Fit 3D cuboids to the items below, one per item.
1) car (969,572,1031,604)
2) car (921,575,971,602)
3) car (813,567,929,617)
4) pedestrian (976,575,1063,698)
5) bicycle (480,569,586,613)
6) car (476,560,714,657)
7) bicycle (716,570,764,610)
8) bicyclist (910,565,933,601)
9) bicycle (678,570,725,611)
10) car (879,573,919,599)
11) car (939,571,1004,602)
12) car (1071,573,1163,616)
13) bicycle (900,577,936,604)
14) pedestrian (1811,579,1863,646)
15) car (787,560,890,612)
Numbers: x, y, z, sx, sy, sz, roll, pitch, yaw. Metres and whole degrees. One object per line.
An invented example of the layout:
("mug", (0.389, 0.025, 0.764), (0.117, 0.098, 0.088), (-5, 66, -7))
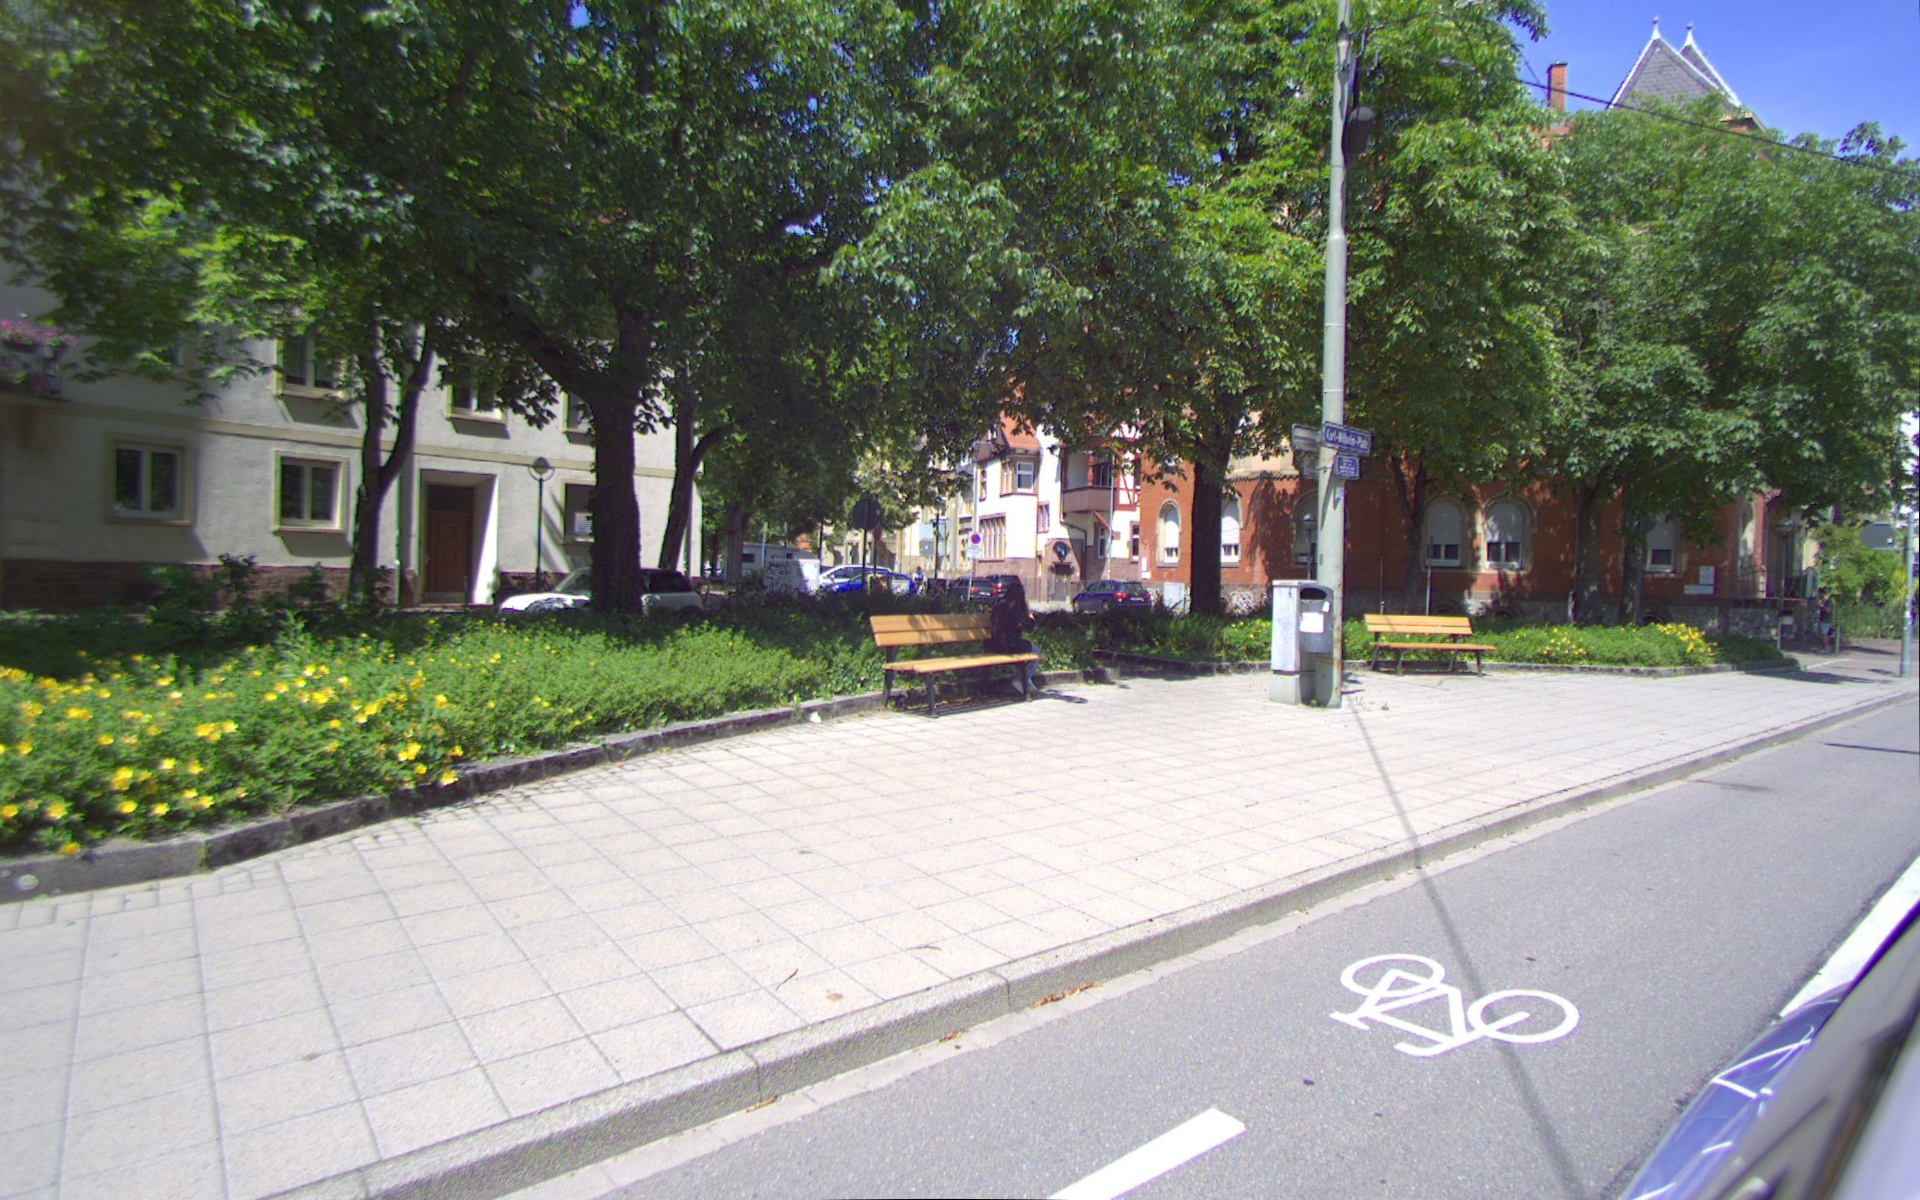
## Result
("car", (2.063, -0.620, 54.074), (1.897, 1.638, 4.318), (0, 0, -19))
("car", (-0.922, -0.693, 63.251), (1.897, 1.638, 4.318), (0, 0, -19))
("car", (-3.547, -0.323, 40.015), (4.219, 1.903, 1.942), (0, 0, -18))
("pedestrian", (0.596, 0.338, 10.073), (0.562, 1.156, 0.718), (3, 2, 33))
("bicycle", (-10.255, -0.222, 24.374), (2.230, 1.024, 0.751), (-1, 0, -41))
("car", (-6.368, 0.127, 17.928), (1.698, 1.525, 3.599), (2, 1, 40))
("bicycle", (-5.870, -0.268, 26.903), (0.736, 1.024, 2.273), (0, 0, -26))
("bicyclist", (-1.890, -0.813, 49.226), (0.856, 1.717, 1.257), (0, 0, -15))
("bicycle", (-6.778, -0.260, 26.474), (0.736, 1.024, 2.273), (0, 0, -26))
("car", (-4.505, -1.009, 74.460), (1.897, 1.897, 4.318), (0, 0, -19))
("car", (0.505, -0.666, 50.643), (1.897, 1.501, 5.046), (0, 0, -15))
("car", (6.272, -0.232, 41.024), (1.897, 1.638, 4.318), (0, 0, -19))
("bicycle", (-2.095, -0.470, 50.032), (0.935, 1.279, 3.753), (0, 0, -16))
("pedestrian", (24.923, 0.350, 28.774), (0.827, 1.846, 0.670), (2, 1, 15))
("car", (-5.375, -0.629, 44.827), (4.219, 2.219, 1.942), (0, 0, -18))
